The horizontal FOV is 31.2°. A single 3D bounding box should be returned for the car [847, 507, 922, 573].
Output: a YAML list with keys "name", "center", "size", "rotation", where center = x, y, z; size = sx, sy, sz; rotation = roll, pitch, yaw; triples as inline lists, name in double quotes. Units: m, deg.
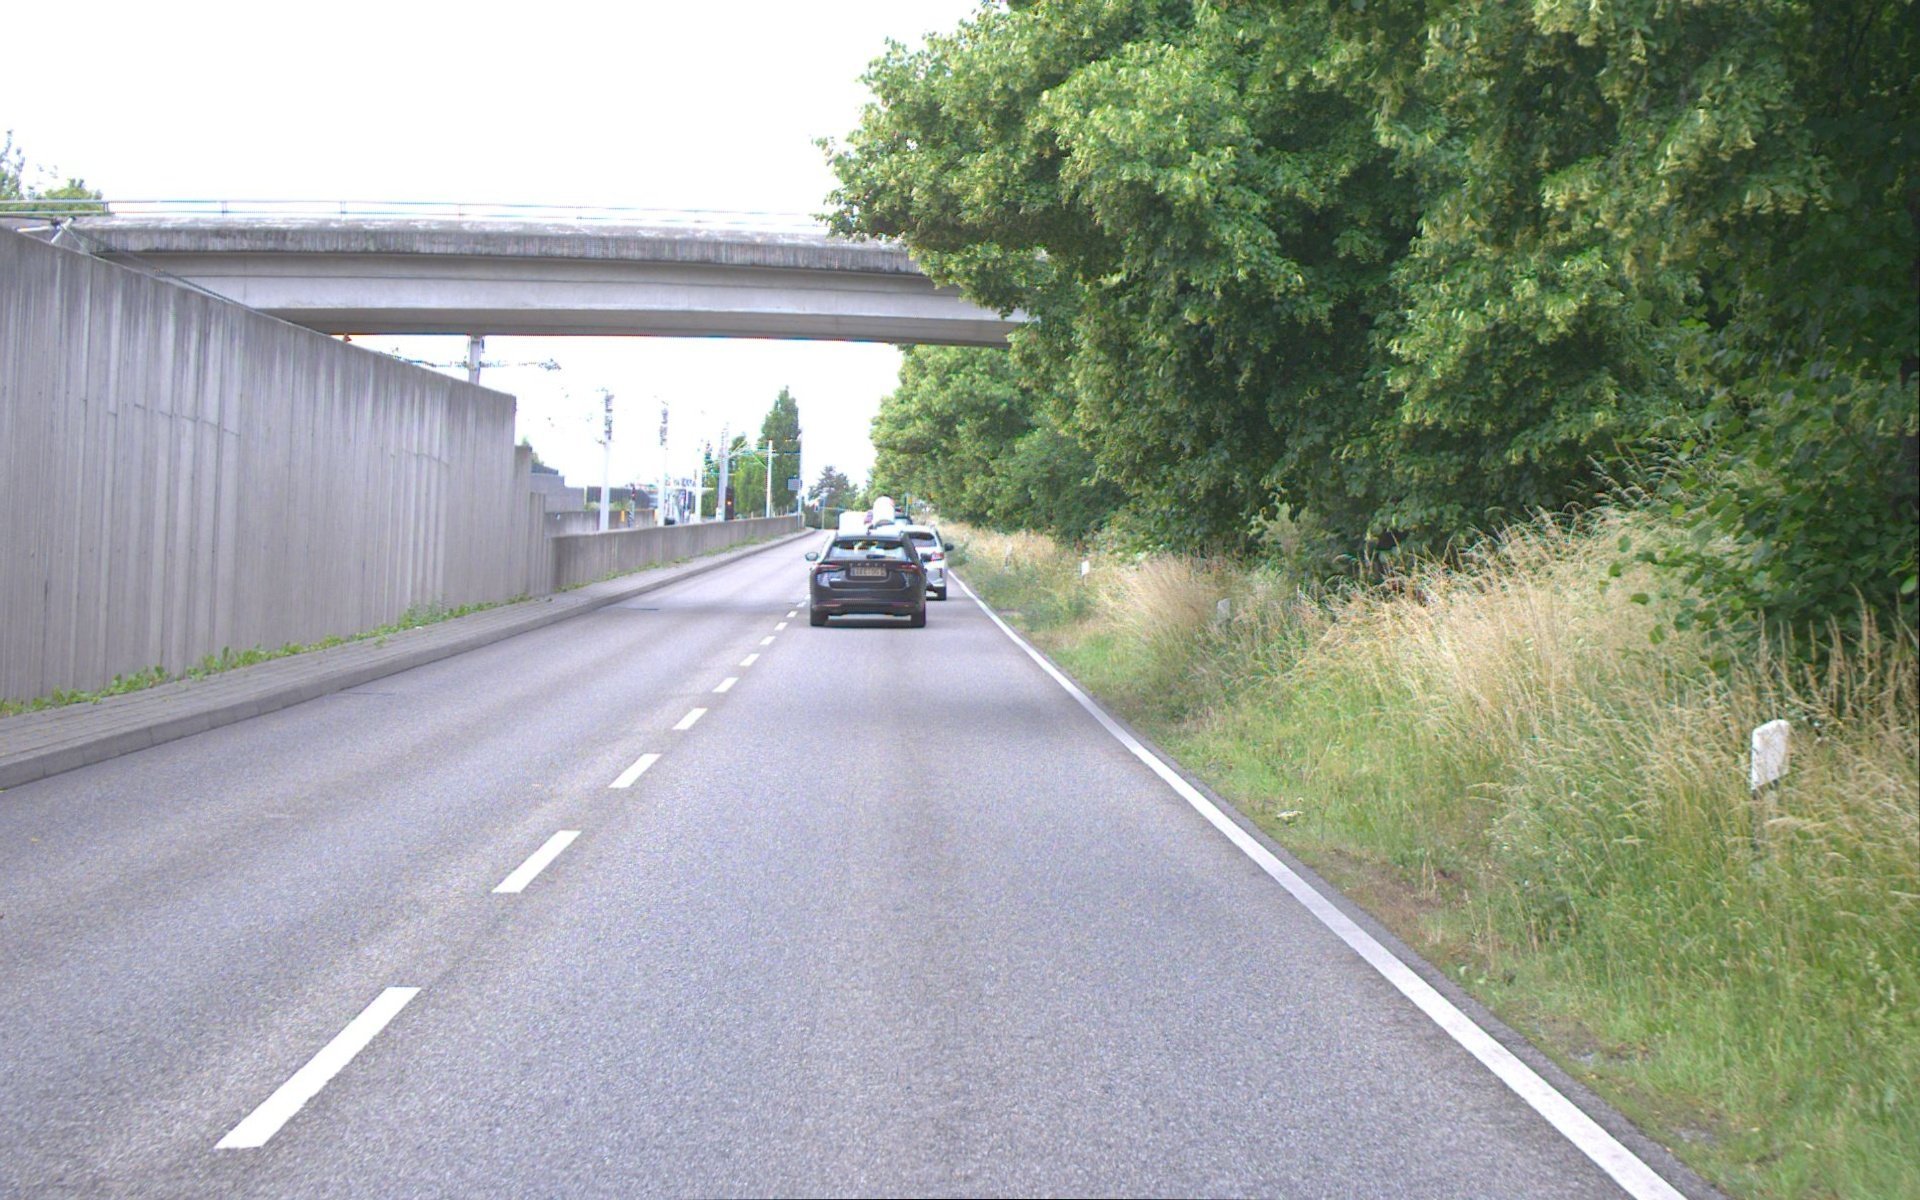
- name: "car"
  center: [-2.062, -1.638, 94.185]
  size: [1.993, 1.734, 4.000]
  rotation: [1, 0, -1]

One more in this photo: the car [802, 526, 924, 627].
- name: "car"
  center: [-1.469, -0.384, 52.789]
  size: [1.781, 1.463, 4.000]
  rotation: [1, 1, -1]

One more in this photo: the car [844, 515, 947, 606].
- name: "car"
  center: [-1.301, -0.816, 69.555]
  size: [1.993, 1.747, 4.000]
  rotation: [1, 1, -1]
